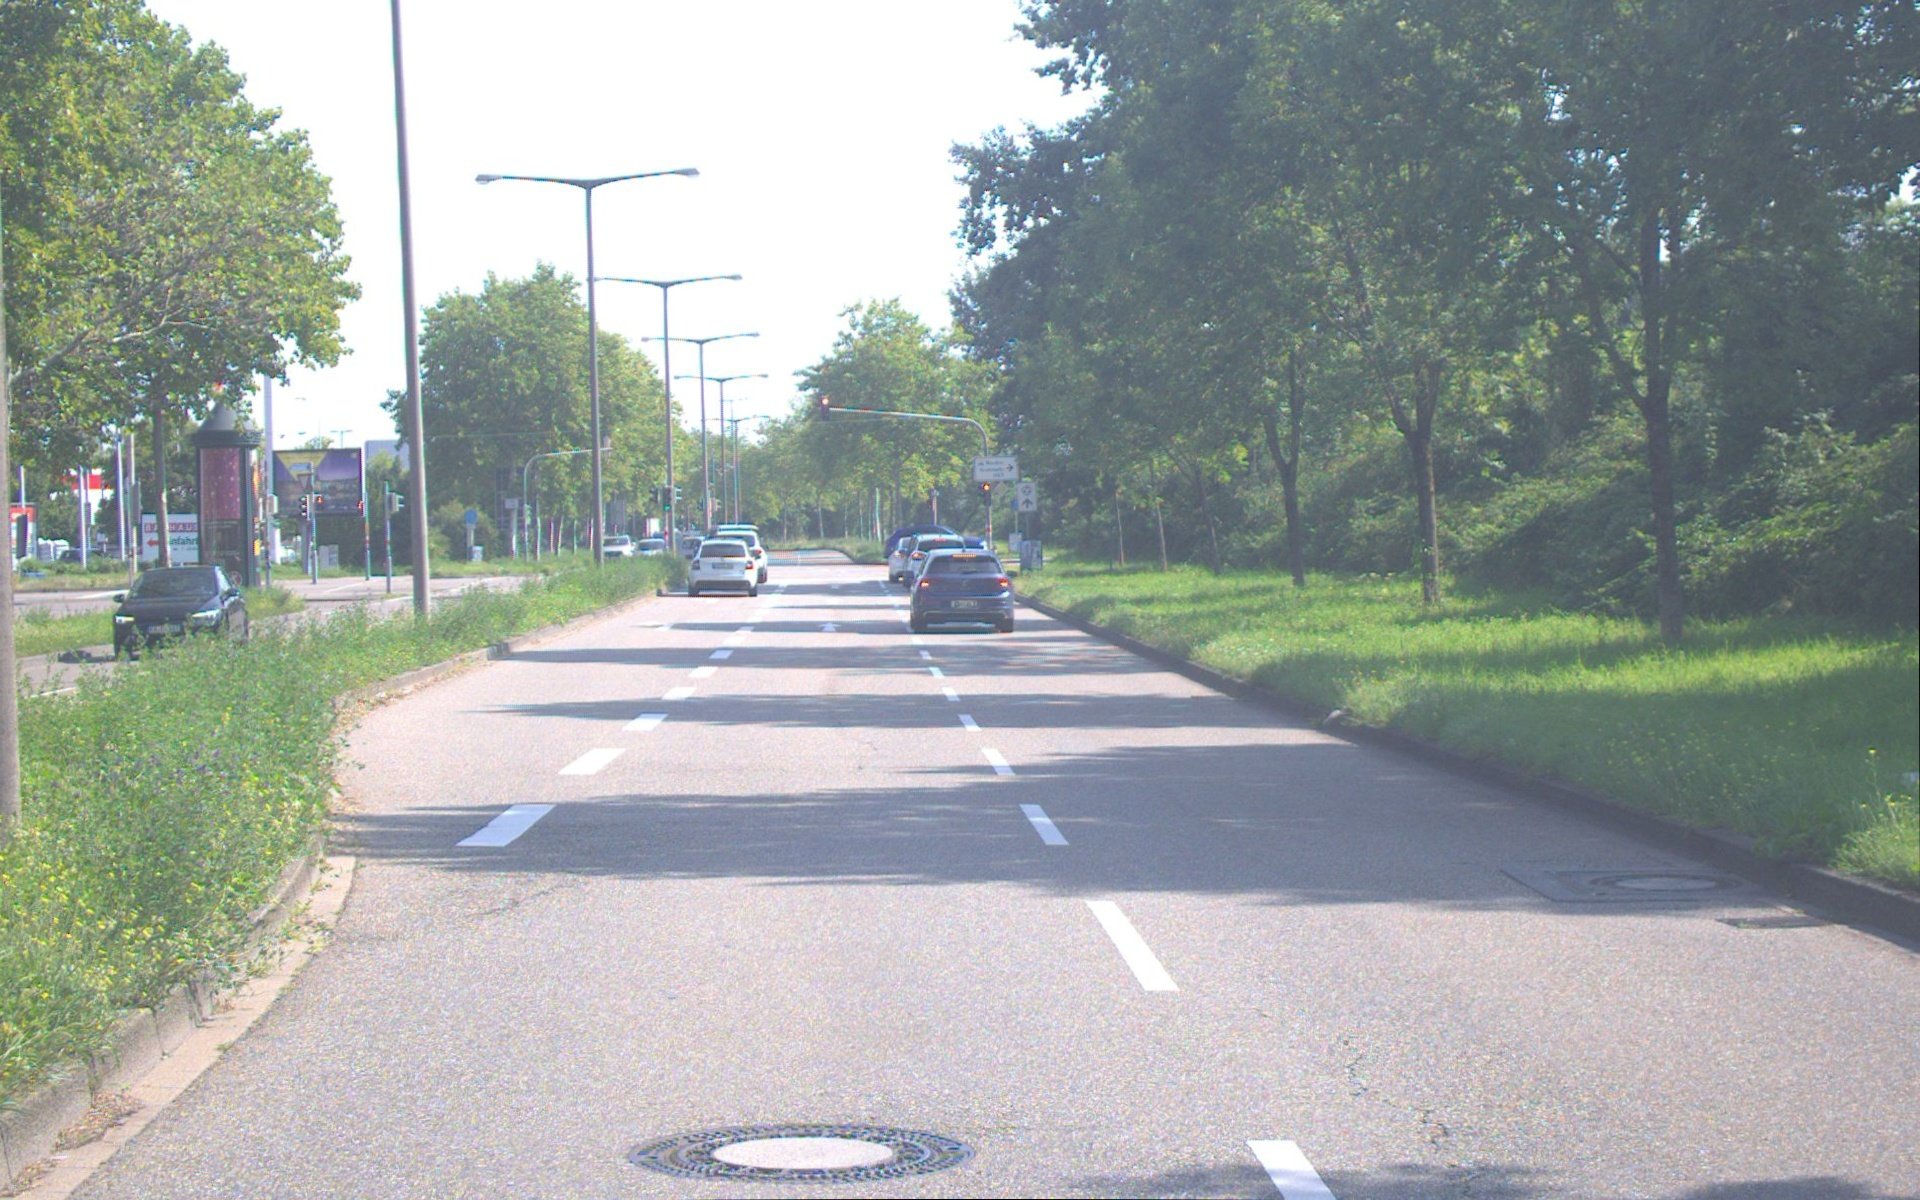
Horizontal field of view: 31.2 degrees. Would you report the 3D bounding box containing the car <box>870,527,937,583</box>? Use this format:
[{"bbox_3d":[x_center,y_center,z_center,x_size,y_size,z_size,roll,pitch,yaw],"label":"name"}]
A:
[{"bbox_3d":[-1.829,-1.464,110.059,1.993,1.648,4.001,1,2,-2],"label":"car"}]

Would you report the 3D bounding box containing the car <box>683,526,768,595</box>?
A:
[{"bbox_3d":[-6.044,-1.033,89.026,1.993,1.696,4.000,-2,1,-1],"label":"car"}]

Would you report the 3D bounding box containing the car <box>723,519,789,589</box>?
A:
[{"bbox_3d":[-6.453,-1.479,108.819,1.993,2.006,4.001,0,4,-2],"label":"car"}]

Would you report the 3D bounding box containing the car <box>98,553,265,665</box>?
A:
[{"bbox_3d":[-12.677,0.115,56.239,1.993,1.556,4.001,0,4,-3],"label":"car"}]

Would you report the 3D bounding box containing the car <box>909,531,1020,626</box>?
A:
[{"bbox_3d":[0.046,-0.404,60.353,1.780,1.423,4.001,0,4,-2],"label":"car"}]

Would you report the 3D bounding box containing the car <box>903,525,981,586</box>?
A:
[{"bbox_3d":[-0.531,-1.256,96.744,1.993,1.648,4.000,-2,1,-2],"label":"car"}]
